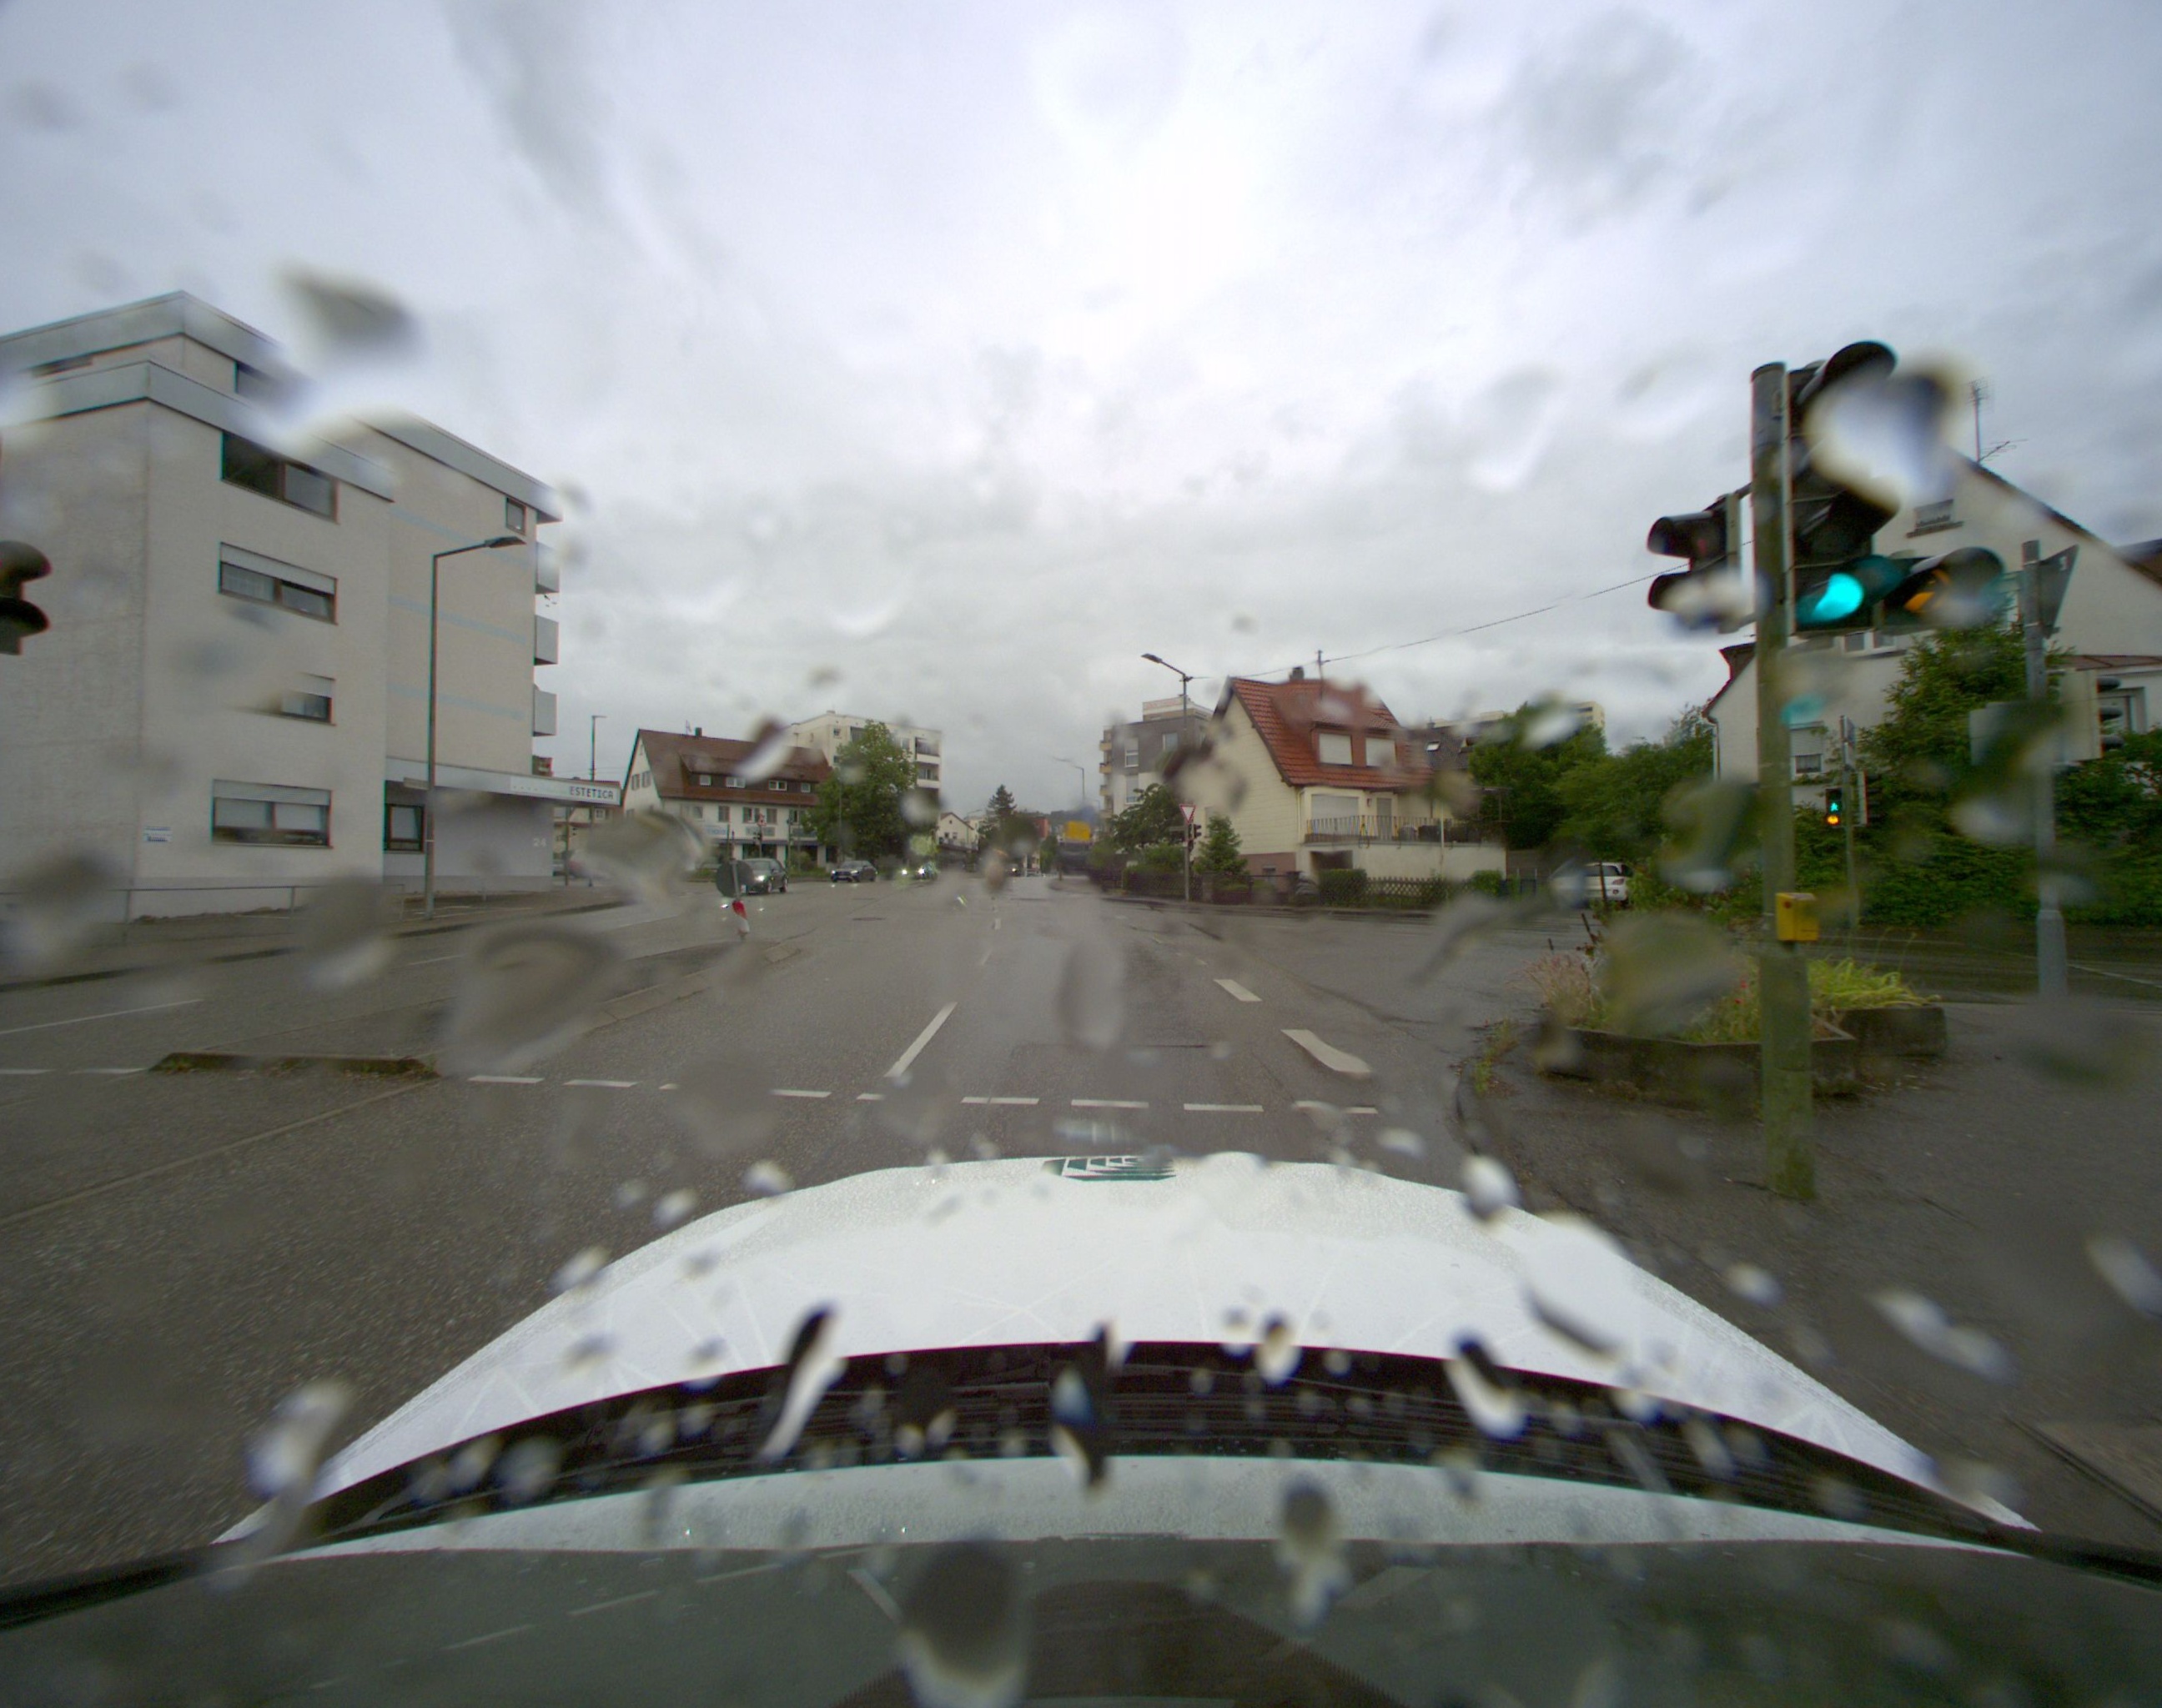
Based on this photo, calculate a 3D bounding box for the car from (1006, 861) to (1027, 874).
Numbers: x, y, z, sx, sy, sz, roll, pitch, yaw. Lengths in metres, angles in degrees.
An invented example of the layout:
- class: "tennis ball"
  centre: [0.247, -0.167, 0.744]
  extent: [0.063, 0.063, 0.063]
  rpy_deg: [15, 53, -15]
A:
- class: "car"
  centre: [-7.754, 1.595, 98.268]
  extent: [1.793, 1.557, 4.325]
  rpy_deg: [0, 0, 6]

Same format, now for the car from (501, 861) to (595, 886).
- class: "car"
  centre: [-42.108, 1.512, 64.427]
  extent: [1.975, 1.842, 5.888]
  rpy_deg: [0, -1, 42]

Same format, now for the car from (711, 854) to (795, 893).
- class: "car"
  centre: [-13.060, 0.734, 32.682]
  extent: [1.783, 1.472, 4.160]
  rpy_deg: [0, 0, -2]

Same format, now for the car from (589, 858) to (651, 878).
- class: "car"
  centre: [-37.170, 1.126, 65.738]
  extent: [4.021, 1.526, 1.976]
  rpy_deg: [1, -1, -41]

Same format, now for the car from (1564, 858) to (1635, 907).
- class: "car"
  centre: [17.335, 0.884, 27.138]
  extent: [1.827, 1.496, 3.766]
  rpy_deg: [-1, -1, 35]

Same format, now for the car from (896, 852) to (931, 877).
- class: "car"
  centre: [-13.911, 0.894, 67.963]
  extent: [1.987, 2.014, 4.651]
  rpy_deg: [0, 0, 0]

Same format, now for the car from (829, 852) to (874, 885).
- class: "car"
  centre: [-15.149, 0.918, 54.117]
  extent: [2.089, 2.013, 5.960]
  rpy_deg: [-2, 0, -9]
